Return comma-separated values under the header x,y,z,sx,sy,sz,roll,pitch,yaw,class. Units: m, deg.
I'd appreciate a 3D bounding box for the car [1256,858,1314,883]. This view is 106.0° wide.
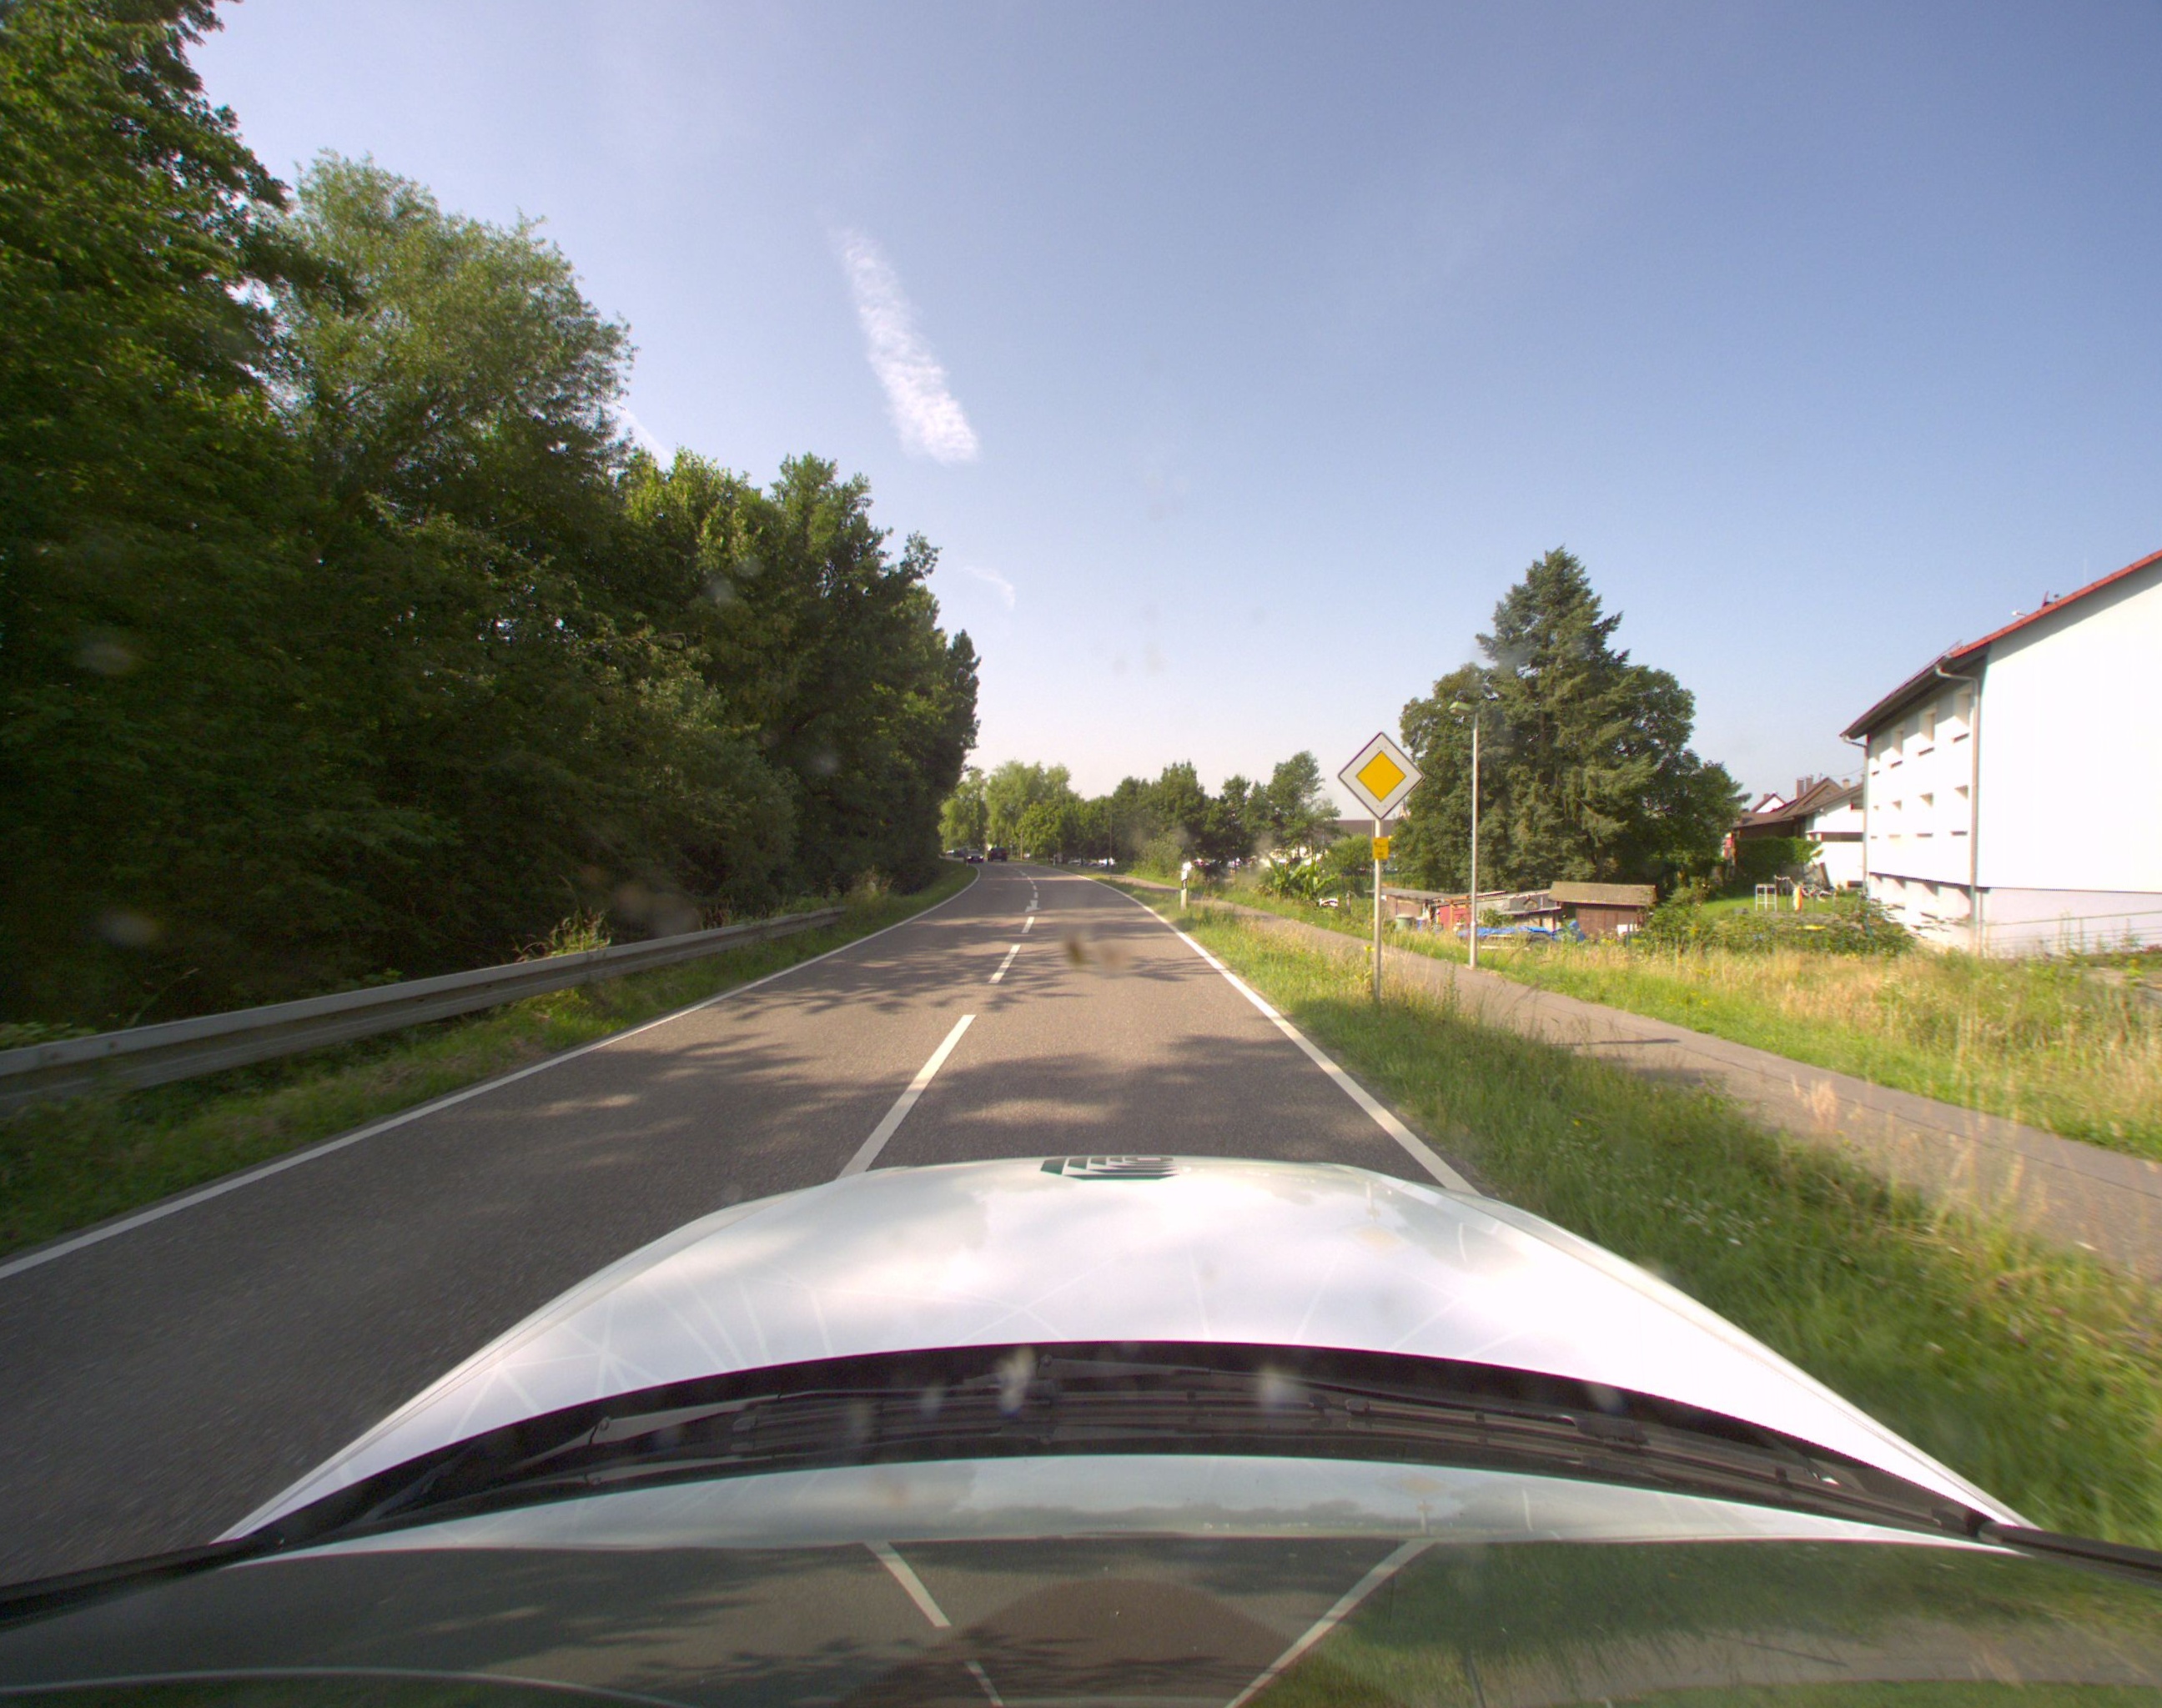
x,y,z,sx,sy,sz,roll,pitch,yaw,class
22.794,1.784,91.091,5.710,2.667,2.422,0,0,38,car

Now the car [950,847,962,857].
x,y,z,sx,sy,sz,roll,pitch,yaw,class
-22.898,-0.379,149.150,2.001,1.771,3.993,1,1,-6,car

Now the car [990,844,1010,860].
x,y,z,sx,sy,sz,roll,pitch,yaw,class
-9.555,-0.275,95.440,1.926,1.771,3.984,1,1,-12,car

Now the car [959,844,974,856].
x,y,z,sx,sy,sz,roll,pitch,yaw,class
-17.512,-0.579,124.191,2.006,1.771,3.983,1,1,-13,car

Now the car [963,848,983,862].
x,y,z,sx,sy,sz,roll,pitch,yaw,class
-11.937,0.104,89.946,1.754,1.474,3.980,1,1,-15,car

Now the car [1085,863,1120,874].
x,y,z,sx,sy,sz,roll,pitch,yaw,class
2.764,1.843,104.685,4.257,1.471,1.840,0,0,-7,car

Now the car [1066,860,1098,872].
x,y,z,sx,sy,sz,roll,pitch,yaw,class
0.145,1.757,115.642,4.234,1.679,1.884,0,0,-10,car

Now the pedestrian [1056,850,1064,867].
x,y,z,sx,sy,sz,roll,pitch,yaw,class
-2.199,0.449,85.845,0.751,1.775,0.973,0,0,1,pedestrian
